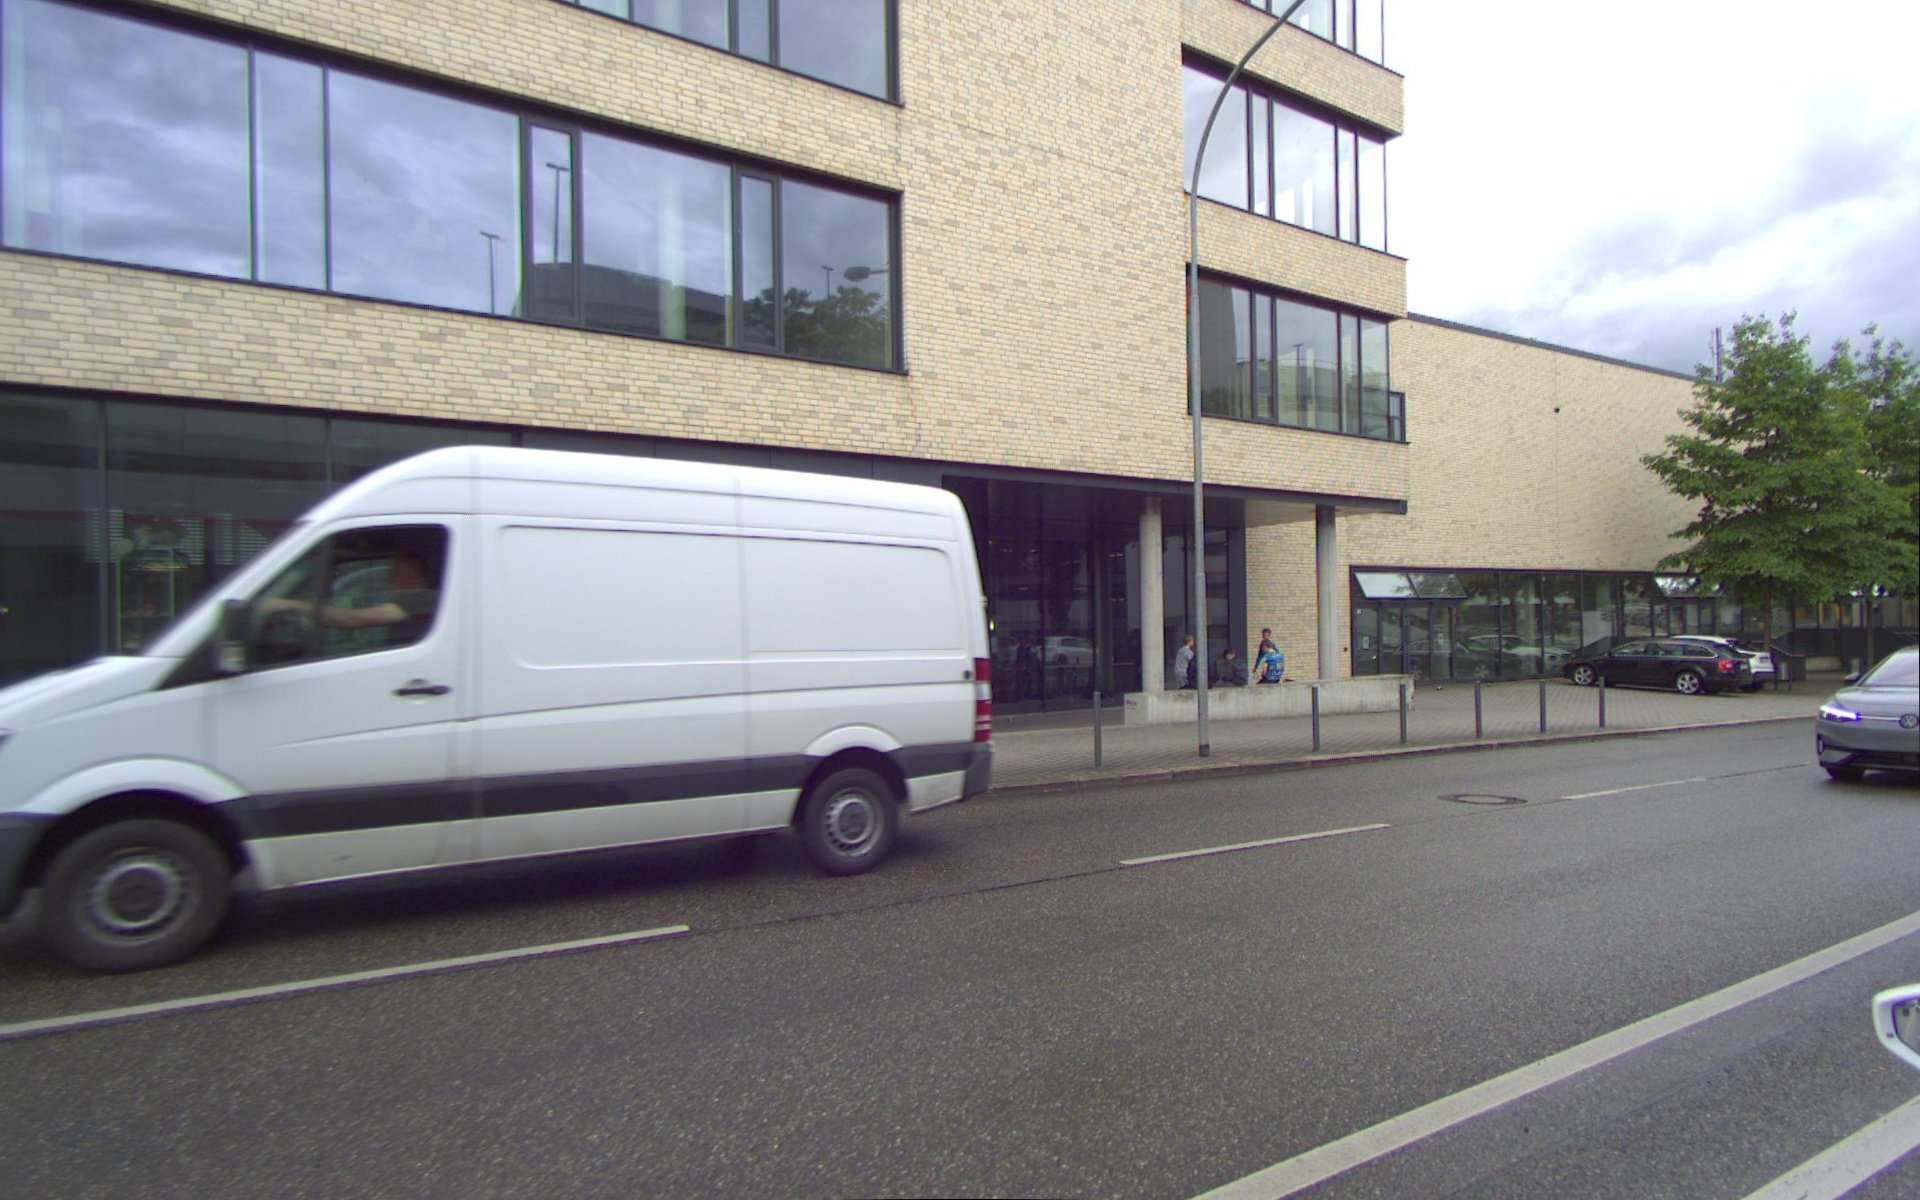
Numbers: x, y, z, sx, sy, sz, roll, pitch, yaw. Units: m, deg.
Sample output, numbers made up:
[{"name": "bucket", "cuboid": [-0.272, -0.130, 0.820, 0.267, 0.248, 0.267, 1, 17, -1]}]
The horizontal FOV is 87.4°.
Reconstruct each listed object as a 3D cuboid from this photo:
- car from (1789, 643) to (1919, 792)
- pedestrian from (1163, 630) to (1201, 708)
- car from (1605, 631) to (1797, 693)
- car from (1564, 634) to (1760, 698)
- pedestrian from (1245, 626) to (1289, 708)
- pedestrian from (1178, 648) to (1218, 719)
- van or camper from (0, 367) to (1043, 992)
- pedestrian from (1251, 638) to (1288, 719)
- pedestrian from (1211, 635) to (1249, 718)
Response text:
[{"name": "car", "cuboid": [11.635, 1.270, 11.601, 4.512, 1.517, 1.873, 2, -3, -33]}, {"name": "pedestrian", "cuboid": [4.357, 1.350, 19.723, 0.523, 1.495, 0.438, 2, 0, -35]}, {"name": "car", "cuboid": [21.909, 1.799, 29.876, 1.975, 1.568, 4.159, 2, -1, -28]}, {"name": "car", "cuboid": [19.945, 1.831, 28.688, 1.981, 1.514, 4.147, 2, -1, -36]}, {"name": "pedestrian", "cuboid": [6.754, 1.461, 22.080, 0.694, 1.737, 0.634, 2, 0, 40]}, {"name": "pedestrian", "cuboid": [4.289, 1.491, 18.080, 0.416, 1.231, 0.546, 2, 0, -27]}, {"name": "van or camper", "cuboid": [-2.421, 0.446, 6.484, 5.843, 2.616, 2.091, 2, -4, -32]}, {"name": "pedestrian", "cuboid": [5.924, 1.496, 19.242, 0.459, 1.495, 0.446, 2, 0, -35]}, {"name": "pedestrian", "cuboid": [4.990, 1.409, 18.555, 0.459, 1.495, 0.446, 2, 0, -35]}]
